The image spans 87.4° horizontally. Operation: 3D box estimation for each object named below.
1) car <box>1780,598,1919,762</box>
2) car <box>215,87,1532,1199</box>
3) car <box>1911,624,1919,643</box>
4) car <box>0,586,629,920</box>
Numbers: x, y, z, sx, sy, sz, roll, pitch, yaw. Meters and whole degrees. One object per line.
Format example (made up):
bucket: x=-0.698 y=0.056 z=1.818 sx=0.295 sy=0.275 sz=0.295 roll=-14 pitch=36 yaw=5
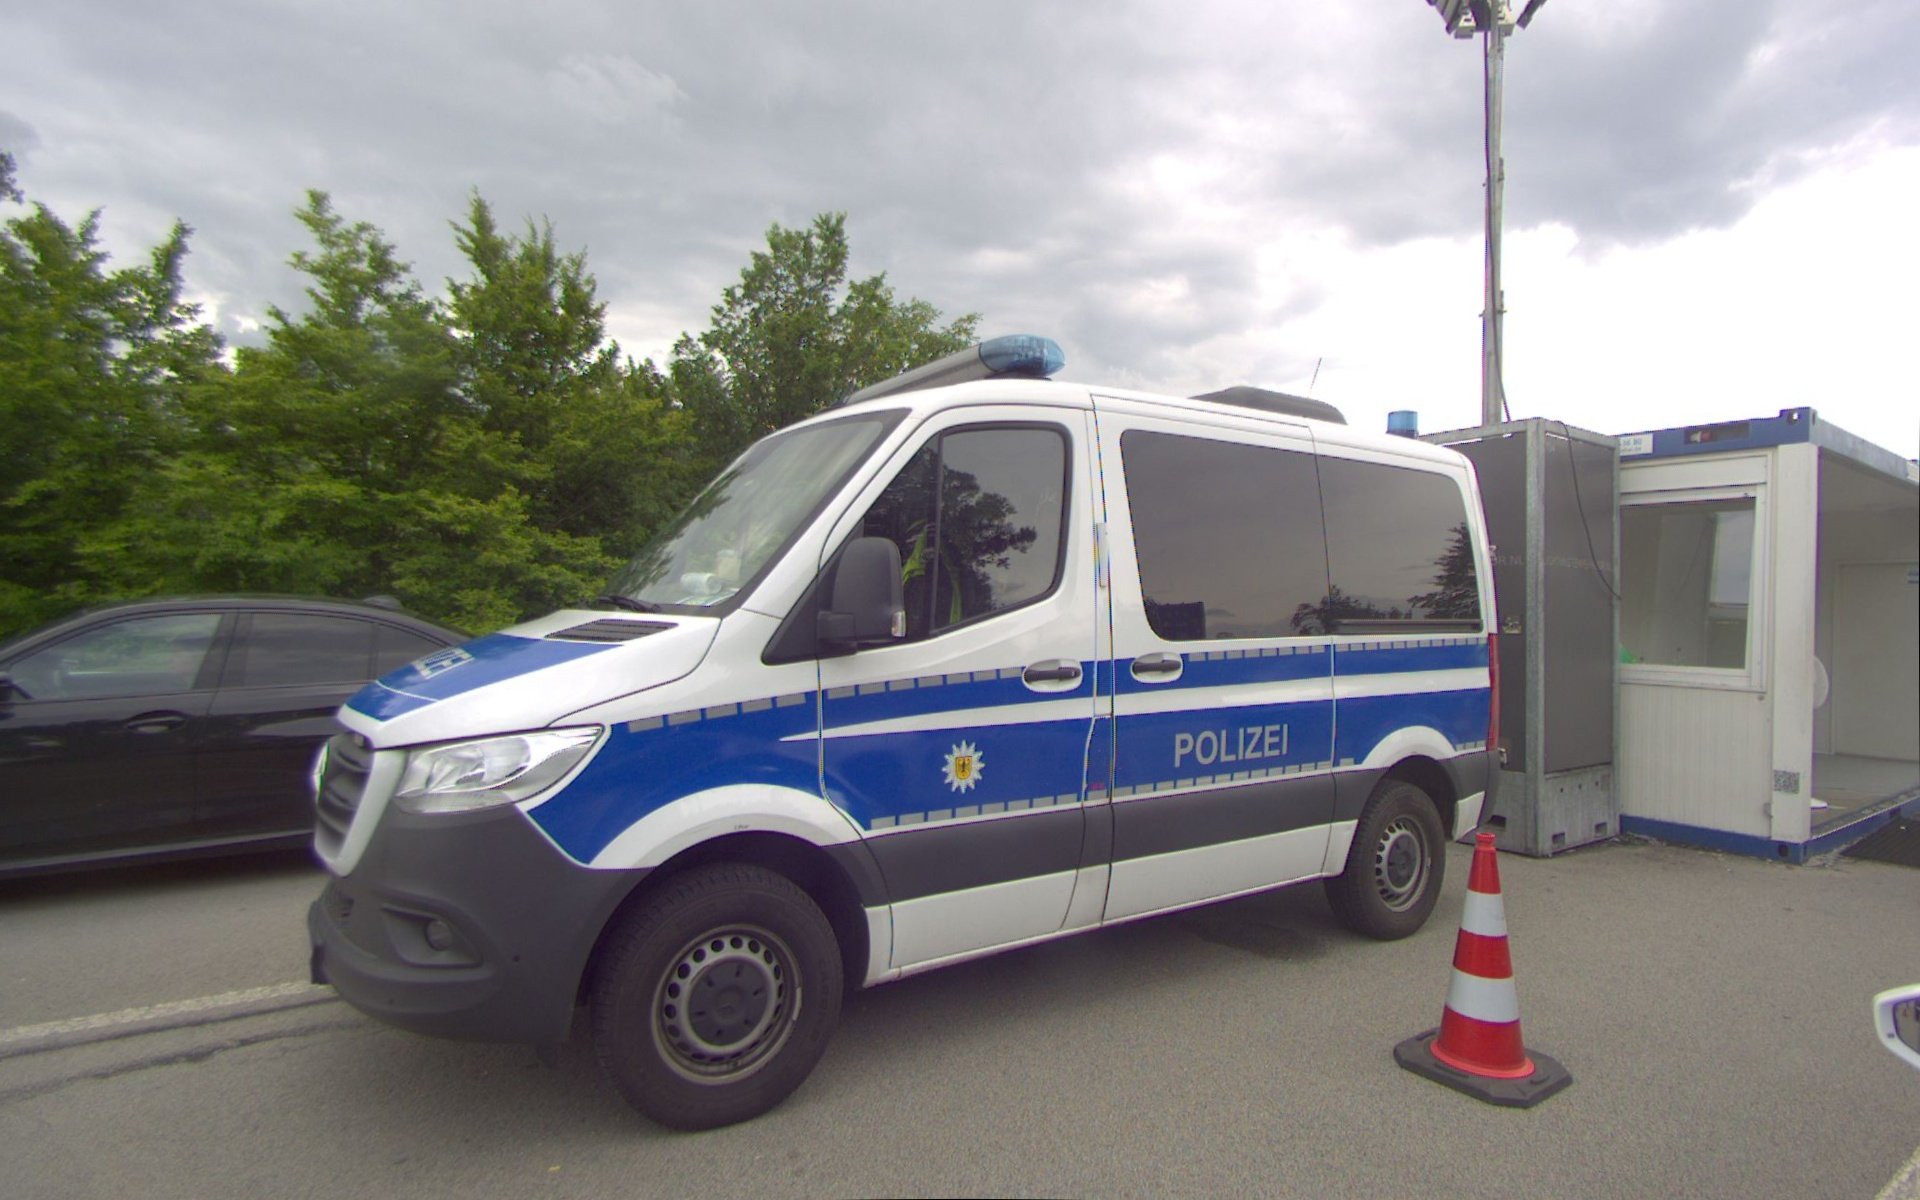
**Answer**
car: x=11.879 y=0.911 z=12.246 sx=3.967 sy=1.767 sz=1.857 roll=1 pitch=0 yaw=-34
car: x=0.104 y=0.241 z=4.379 sx=5.224 sy=2.496 sz=2.017 roll=1 pitch=0 yaw=-34
car: x=76.890 y=2.668 z=79.704 sx=1.833 sy=1.518 sz=4.236 roll=1 pitch=0 yaw=40
car: x=-4.200 y=0.673 z=5.402 sx=4.293 sy=1.455 sz=1.698 roll=1 pitch=0 yaw=-35
